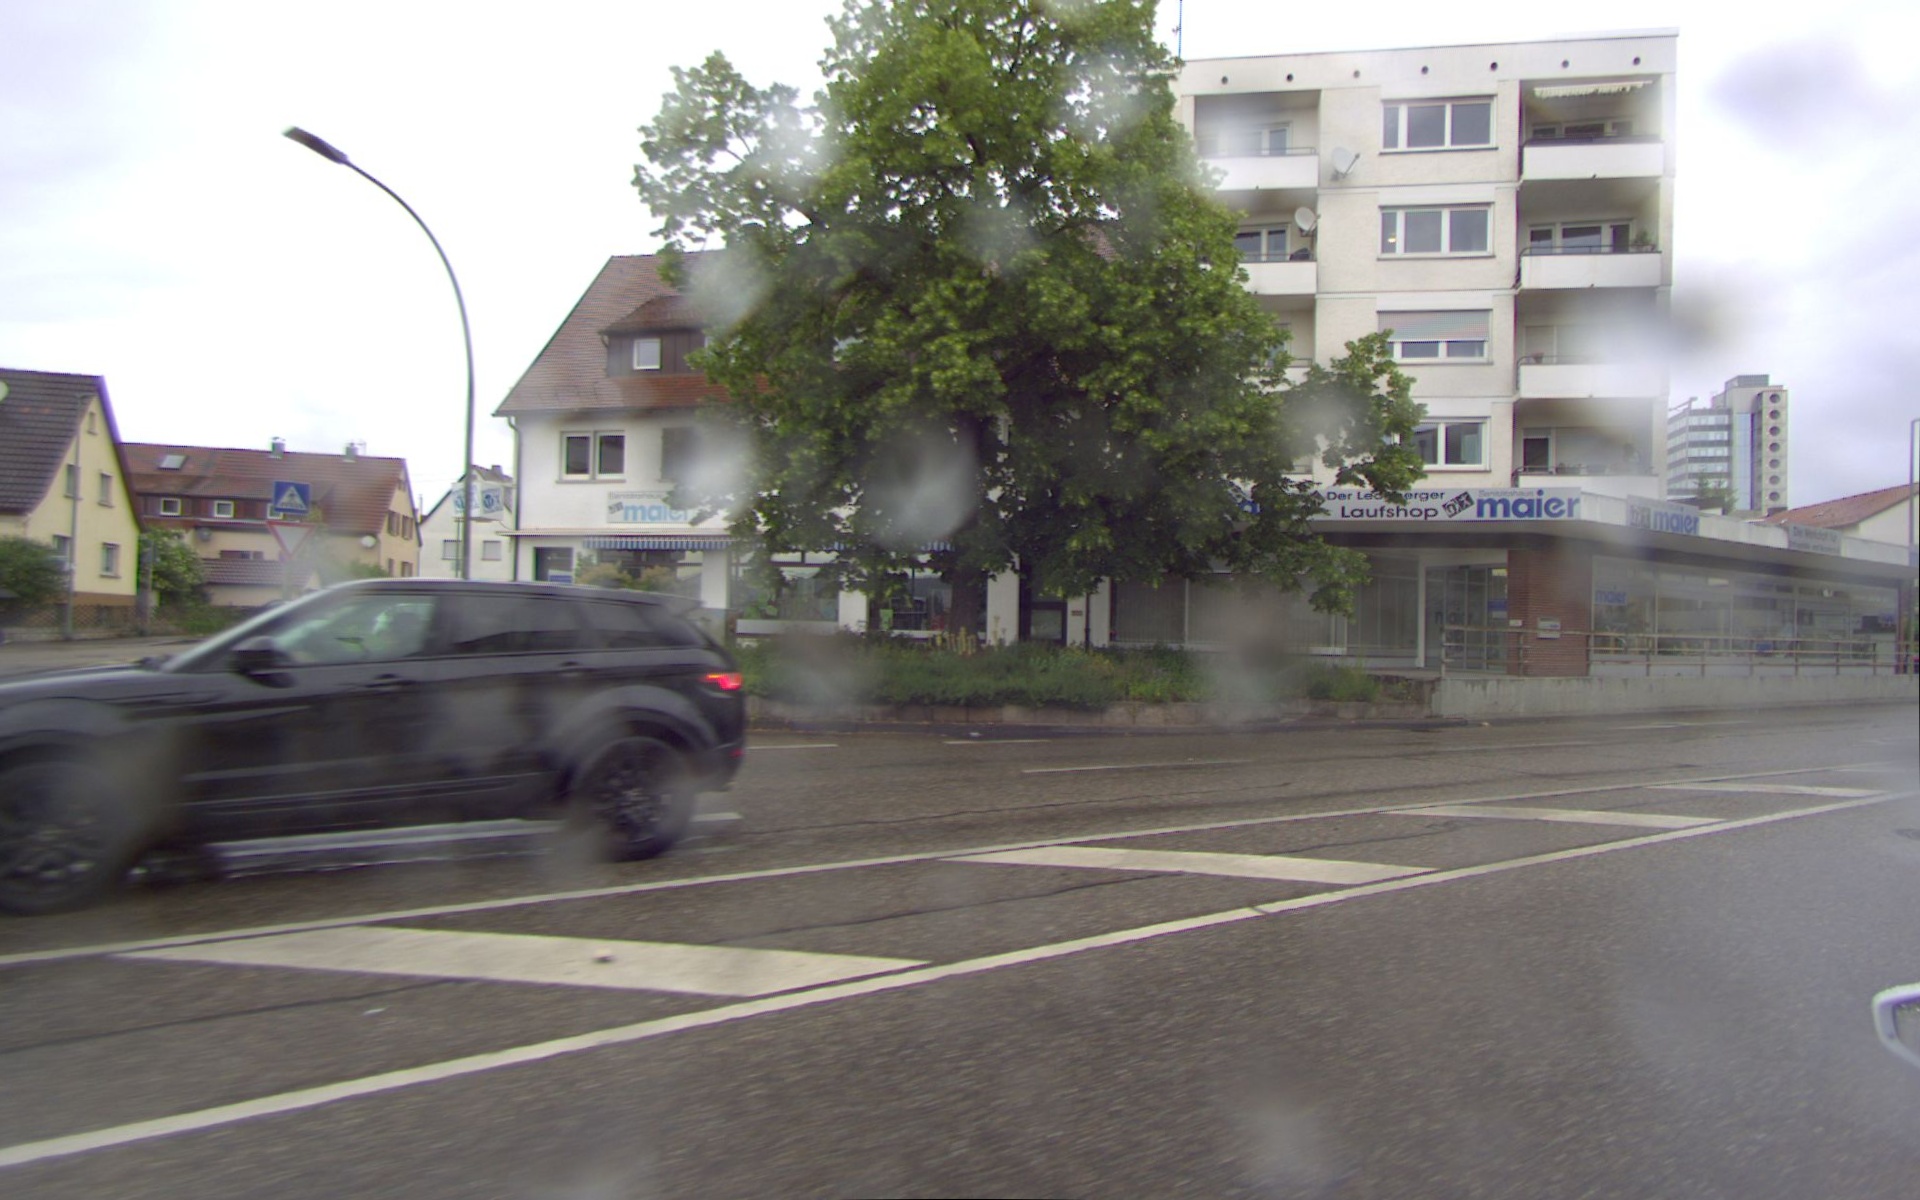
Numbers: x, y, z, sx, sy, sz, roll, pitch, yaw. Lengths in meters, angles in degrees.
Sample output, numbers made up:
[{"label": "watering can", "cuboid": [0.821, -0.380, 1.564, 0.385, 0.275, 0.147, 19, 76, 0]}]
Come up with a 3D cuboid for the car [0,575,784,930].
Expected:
[{"label": "car", "cuboid": [-3.354, 0.701, 5.897, 4.261, 1.577, 1.797, 1, 0, -26]}]

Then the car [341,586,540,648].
[{"label": "car", "cuboid": [-16.867, 0.518, 32.719, 5.733, 1.867, 2.001, 1, 0, 11]}]

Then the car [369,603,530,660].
[{"label": "car", "cuboid": [-14.914, 0.886, 29.400, 3.920, 1.546, 2.000, 1, 0, 18]}]
